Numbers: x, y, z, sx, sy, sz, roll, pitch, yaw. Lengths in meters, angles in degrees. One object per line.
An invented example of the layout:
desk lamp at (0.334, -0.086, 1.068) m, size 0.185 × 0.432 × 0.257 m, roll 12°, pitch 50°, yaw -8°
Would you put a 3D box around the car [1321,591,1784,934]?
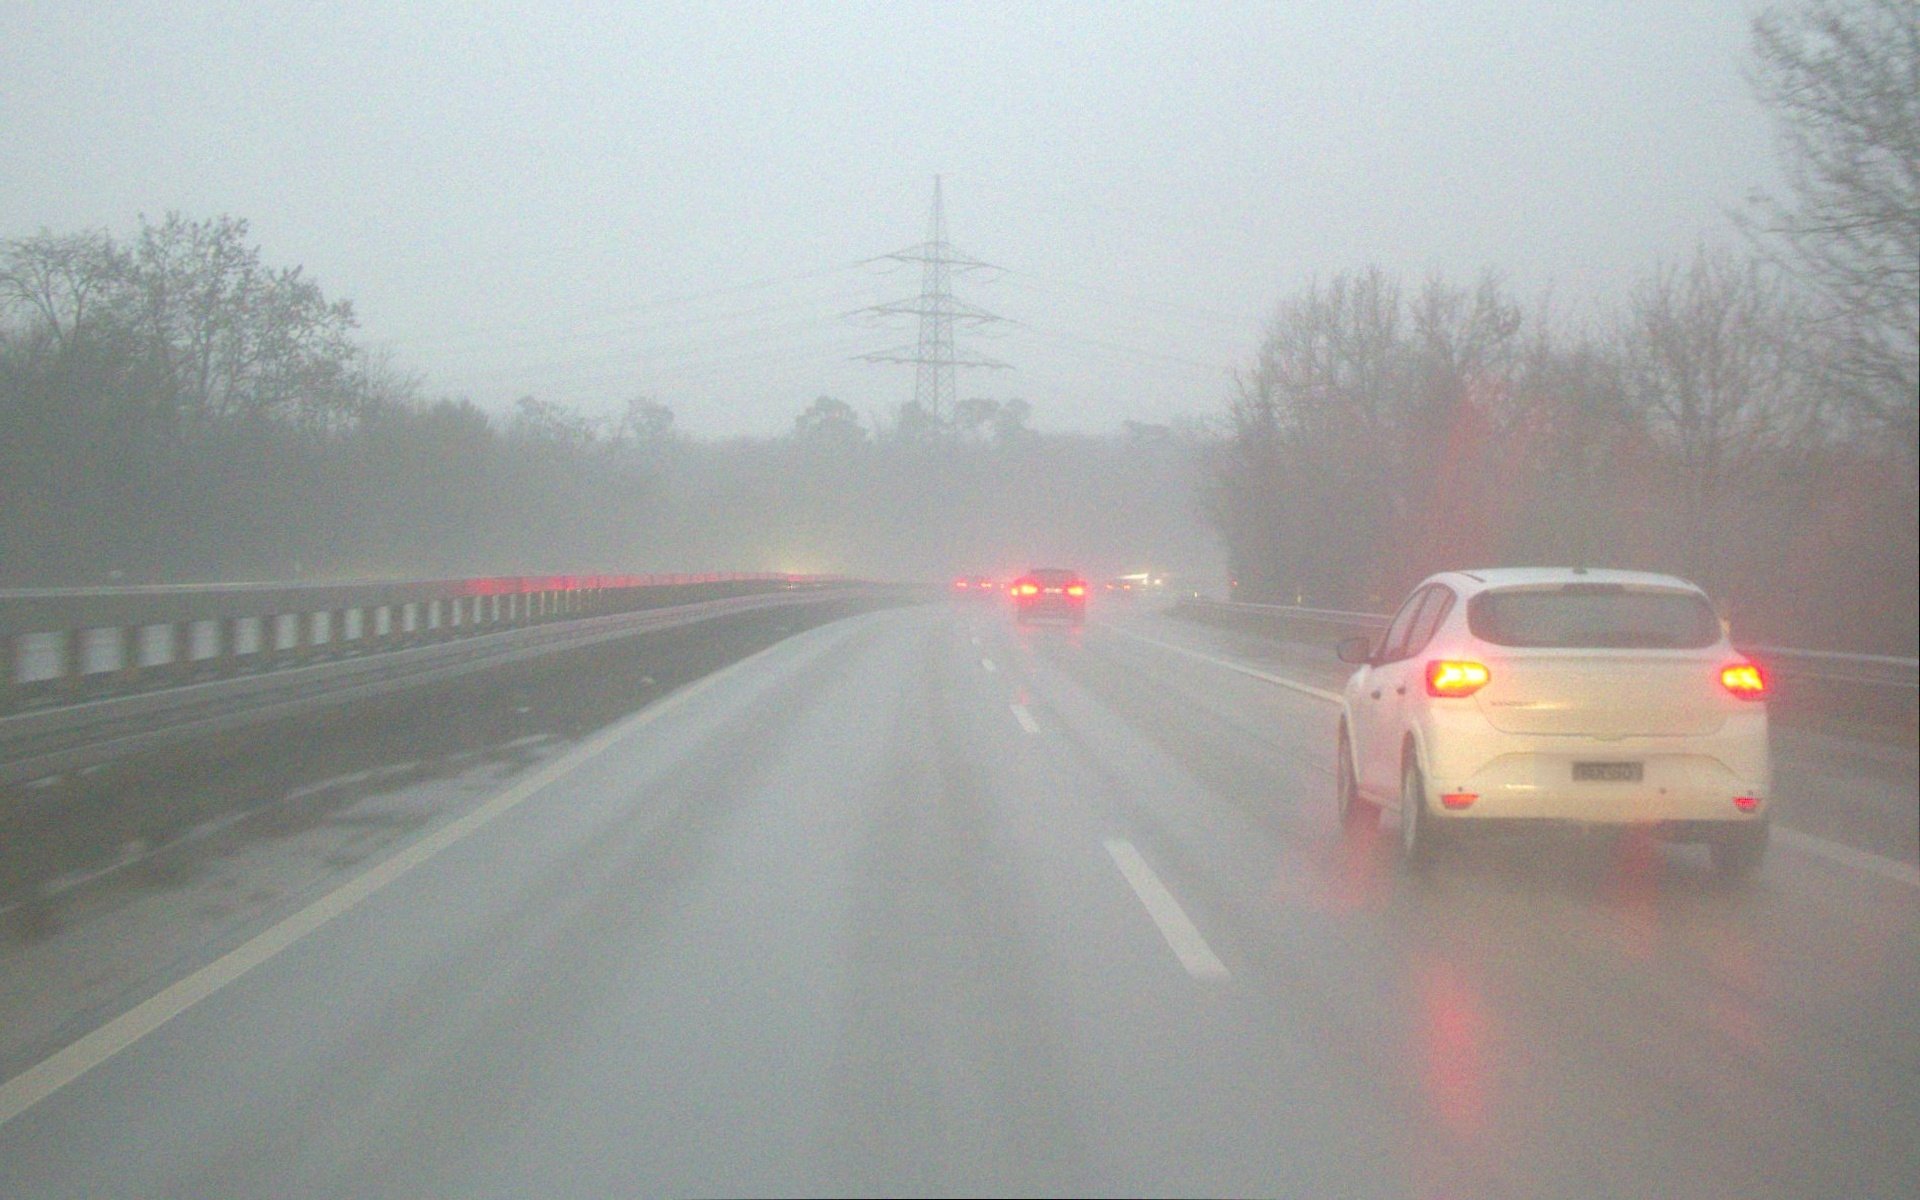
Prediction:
car at (3.080, 0.794, 18.617) m, size 1.845 × 1.630 × 3.767 m, roll -1°, pitch 0°, yaw 0°
